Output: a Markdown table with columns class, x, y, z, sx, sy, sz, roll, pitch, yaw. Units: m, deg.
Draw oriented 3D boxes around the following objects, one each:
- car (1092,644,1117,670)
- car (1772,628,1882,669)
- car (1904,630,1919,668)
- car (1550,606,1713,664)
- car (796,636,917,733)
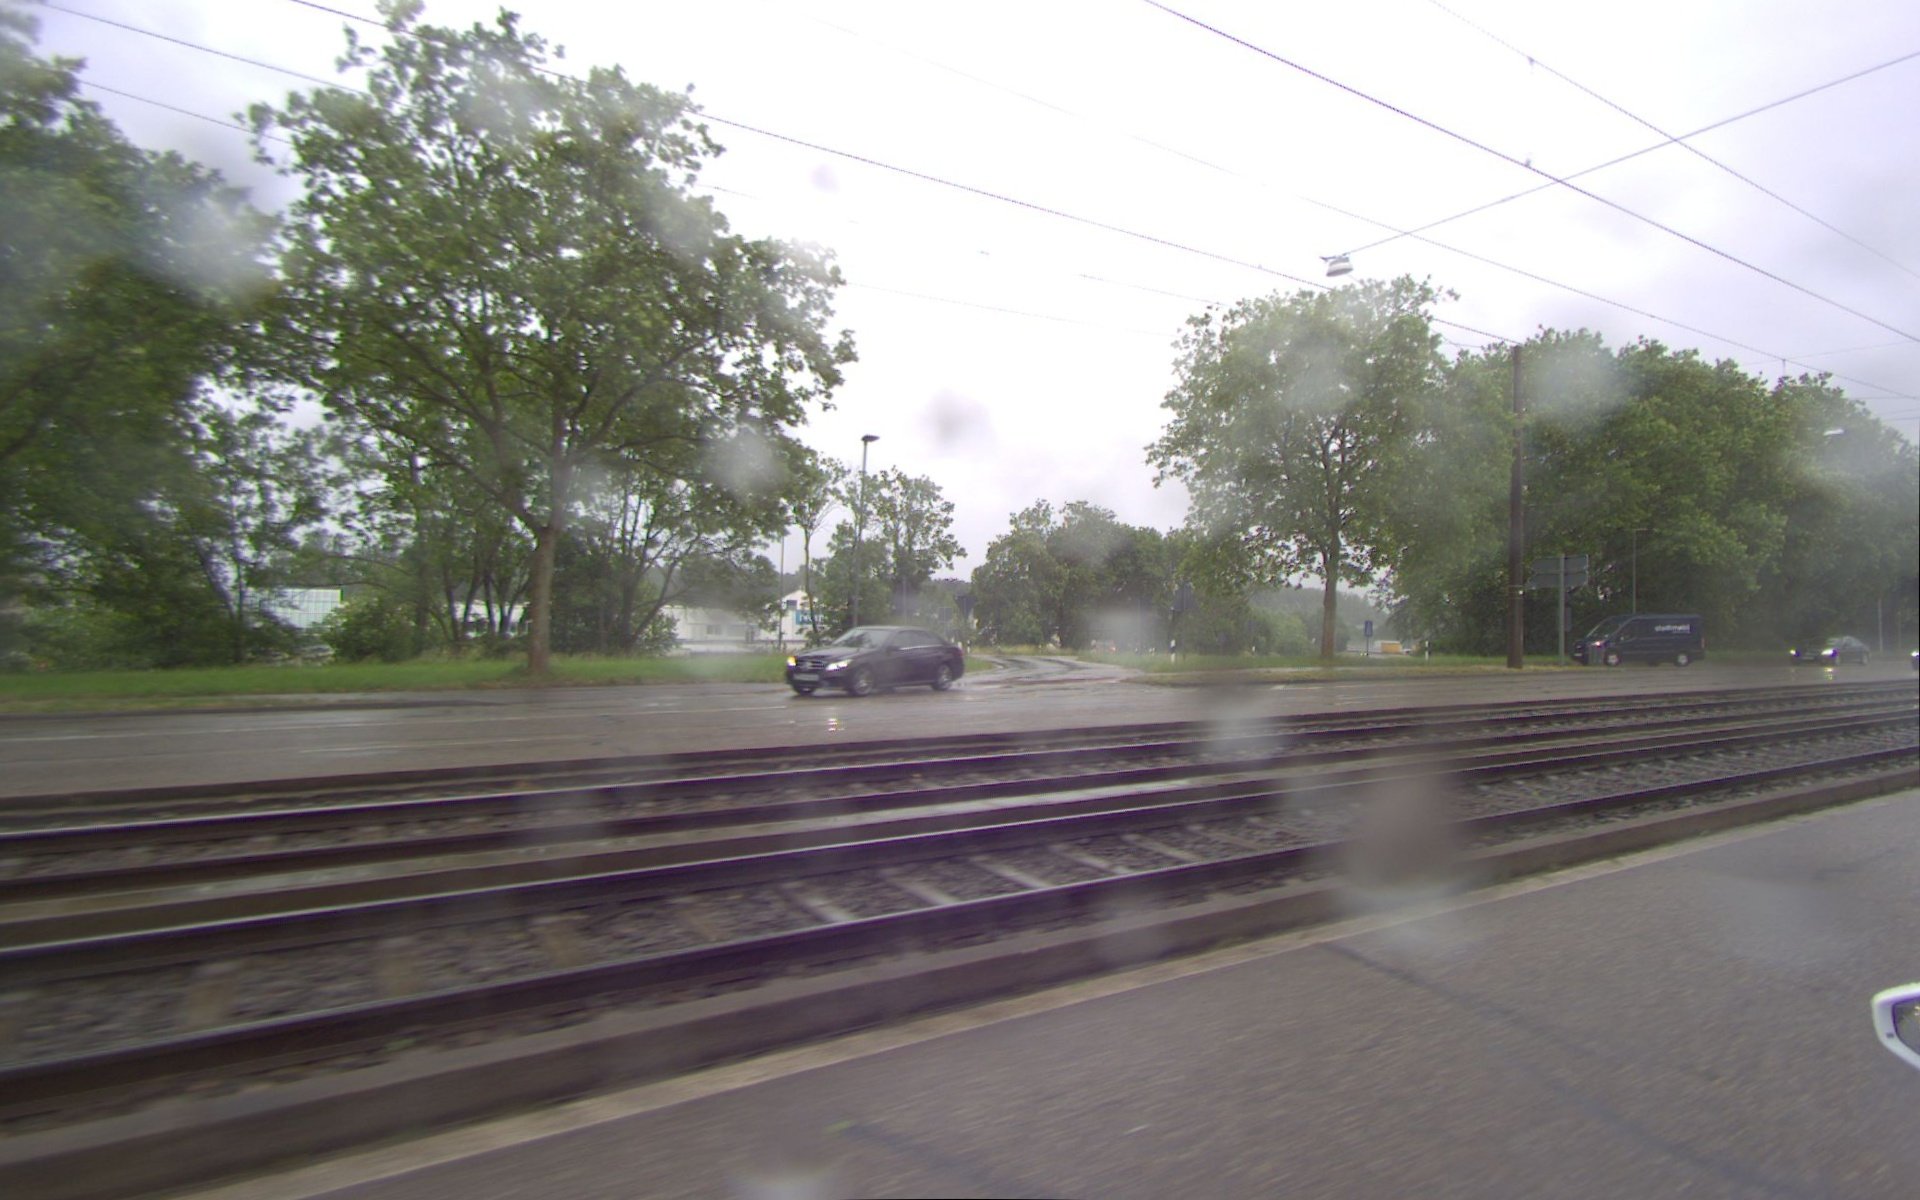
| class | x | y | z | sx | sy | sz | roll | pitch | yaw |
| --- | --- | --- | --- | --- | --- | --- | --- | --- | --- |
| car | 10.963 | 4.255 | 75.954 | 1.628 | 1.684 | 3.620 | 1 | 1 | 11 |
| car | 41.887 | 2.288 | 48.527 | 4.694 | 1.822 | 2.079 | 1 | 1 | -22 |
| car | 42.221 | 2.076 | 42.779 | 5.256 | 1.570 | 1.779 | 0 | 1 | -34 |
| car | 30.770 | 1.563 | 46.218 | 5.730 | 2.458 | 2.340 | 1 | 1 | 7 |
| car | -2.183 | 1.779 | 22.479 | 1.810 | 1.709 | 4.651 | 1 | 1 | 5 |
